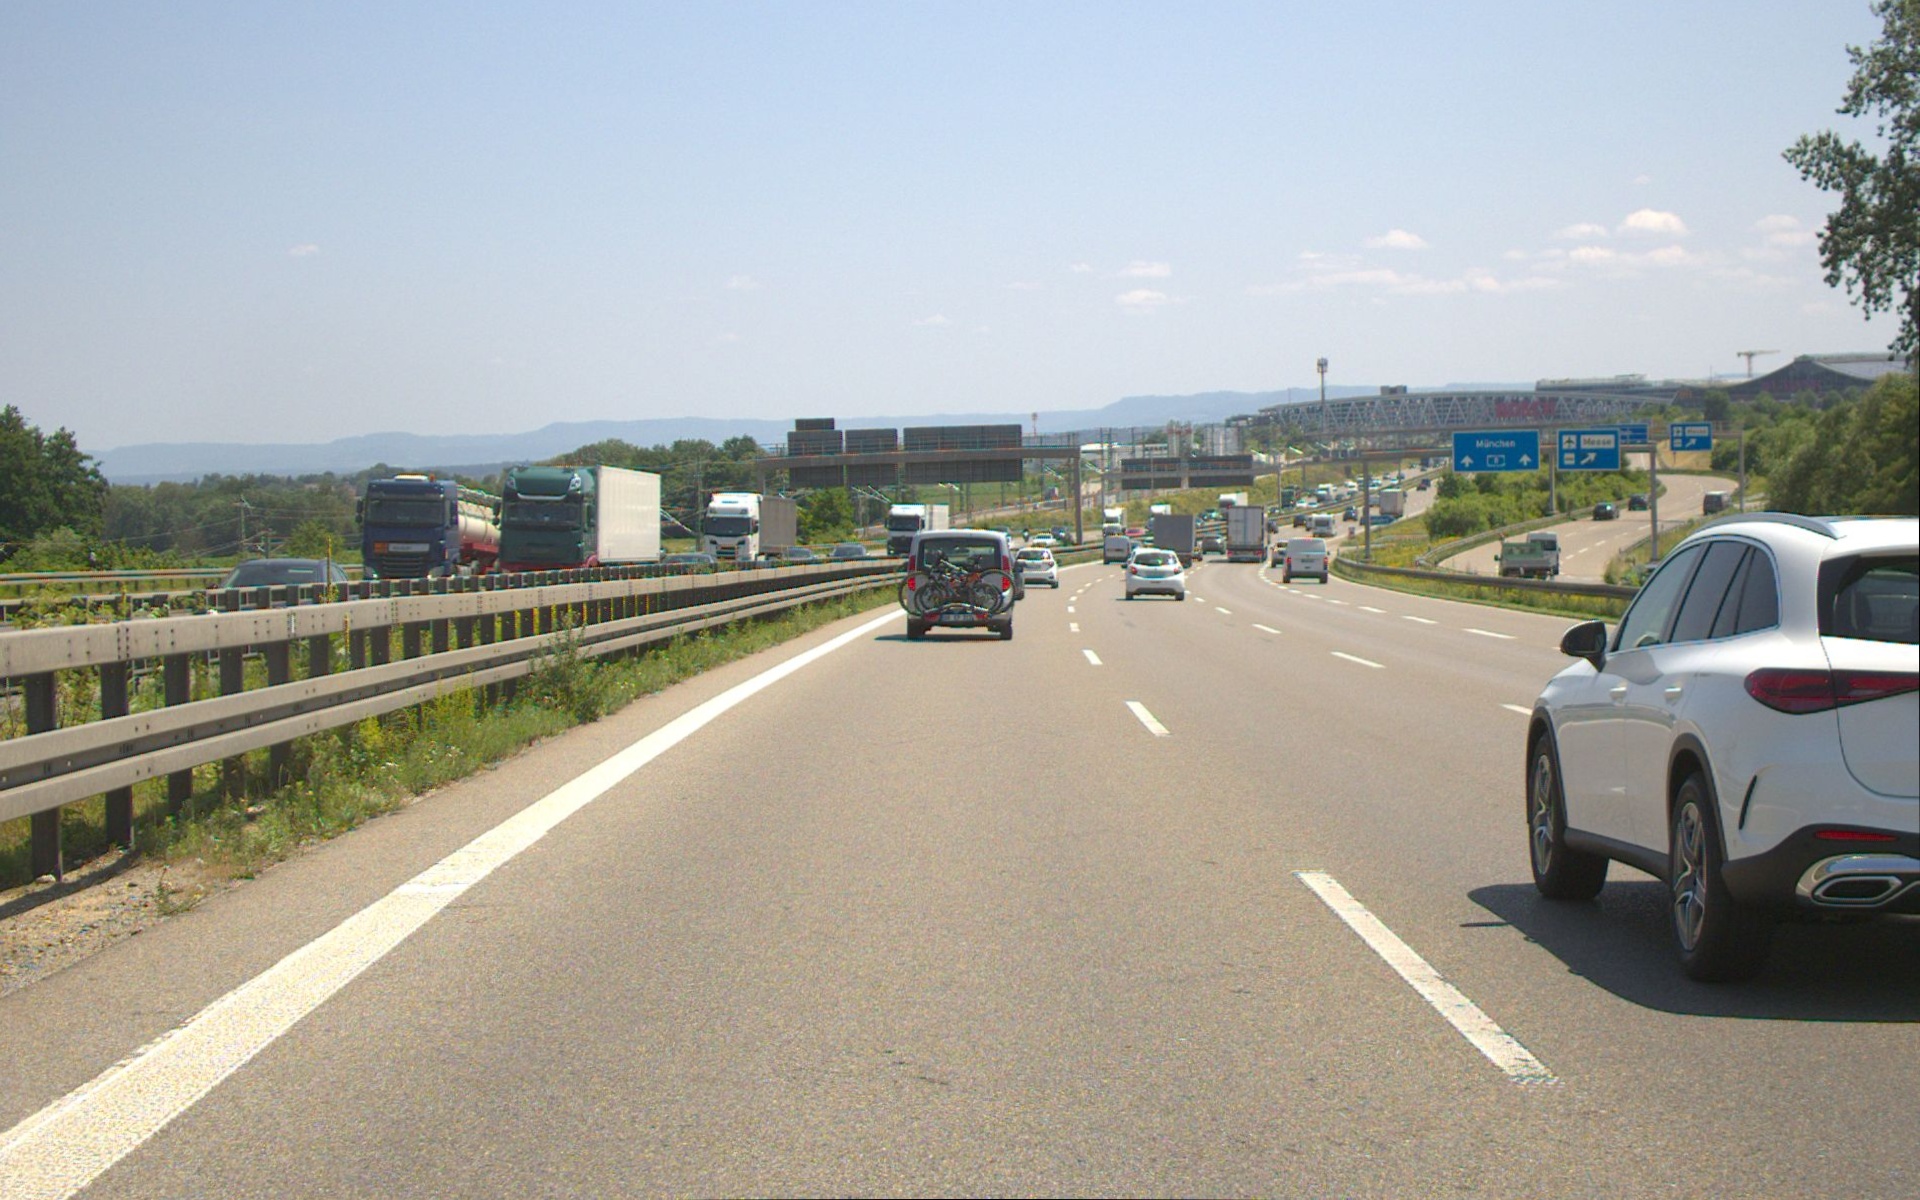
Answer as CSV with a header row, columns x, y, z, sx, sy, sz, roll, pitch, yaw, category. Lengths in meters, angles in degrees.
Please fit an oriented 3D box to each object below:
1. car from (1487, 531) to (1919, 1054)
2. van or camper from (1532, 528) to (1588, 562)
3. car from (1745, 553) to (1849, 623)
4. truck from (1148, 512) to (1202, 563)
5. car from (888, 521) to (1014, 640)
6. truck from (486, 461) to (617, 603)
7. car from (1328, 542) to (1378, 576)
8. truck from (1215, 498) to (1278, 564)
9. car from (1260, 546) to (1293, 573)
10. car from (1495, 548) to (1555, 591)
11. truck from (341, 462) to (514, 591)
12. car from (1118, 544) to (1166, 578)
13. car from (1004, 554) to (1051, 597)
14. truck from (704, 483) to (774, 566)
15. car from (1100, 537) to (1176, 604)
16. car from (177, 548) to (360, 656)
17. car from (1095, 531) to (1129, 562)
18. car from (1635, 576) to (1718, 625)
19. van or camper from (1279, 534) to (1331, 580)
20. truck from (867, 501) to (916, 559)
x,y,z,sx,sy,sz,roll,pitch,yaw,category
3.408,0.572,13.290,1.898,1.641,4.999,0,1,-1,car
35.936,-3.288,206.040,2.529,2.007,4.461,0,1,0,van or camper
23.332,-0.354,95.975,1.939,1.917,4.179,0,1,1,car
13.413,-3.876,214.120,2.703,3.098,10.656,0,1,7,truck
-0.108,-0.351,57.661,1.927,1.912,4.948,0,1,2,car
-12.193,-2.019,103.275,2.967,4.105,7.598,0,1,1,truck
19.622,-2.056,171.699,1.993,1.684,4.000,0,1,-1,car
20.492,-4.978,245.070,4.040,4.247,11.756,0,3,7,truck
20.101,-2.567,218.423,1.994,1.684,4.000,0,1,3,car
26.612,-1.461,162.074,1.993,2.007,4.000,0,1,-2,car
-16.323,-2.265,106.485,3.219,3.772,12.901,0,1,1,truck
8.197,-1.757,154.719,1.982,1.468,4.000,0,1,1,car
2.513,-0.907,127.044,1.576,1.547,3.964,0,1,3,car
-11.282,-3.857,176.057,2.881,4.103,6.384,1,1,2,truck
5.191,-0.864,100.748,1.926,1.912,4.518,0,1,-1,car
-9.917,-0.013,49.610,1.678,1.459,4.705,0,1,0,car
10.037,-3.526,226.656,2.186,1.996,4.000,0,1,4,car
24.190,0.009,116.195,1.993,1.590,4.000,0,1,1,car
15.121,-1.888,150.861,2.156,2.007,4.304,0,1,4,van or camper
-5.092,-5.222,256.738,3.035,4.226,6.684,0,1,4,truck
